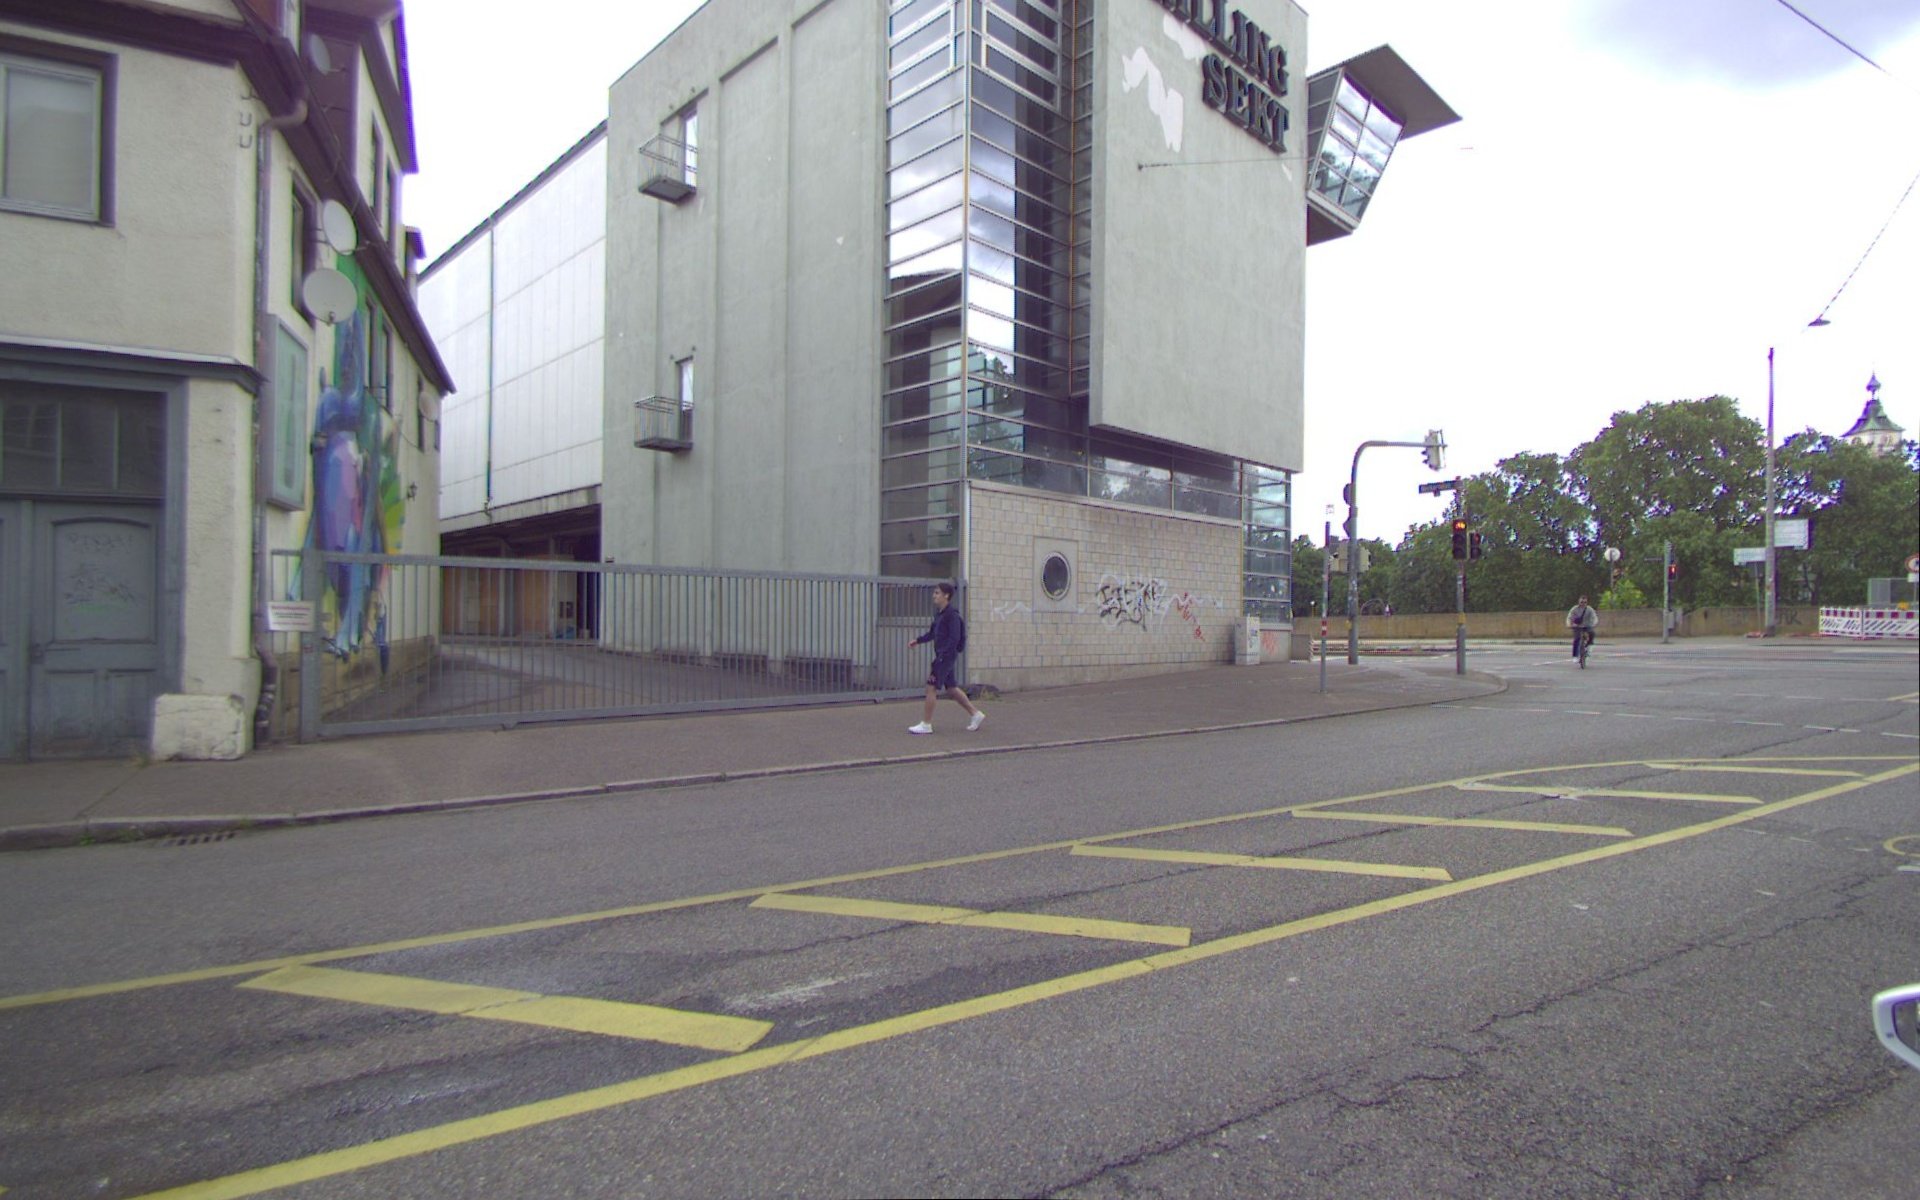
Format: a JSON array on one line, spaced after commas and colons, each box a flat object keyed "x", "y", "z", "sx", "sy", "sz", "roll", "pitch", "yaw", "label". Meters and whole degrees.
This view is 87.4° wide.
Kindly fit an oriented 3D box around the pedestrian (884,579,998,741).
[{"x": -0.247, "y": 0.695, "z": 12.543, "sx": 1.077, "sy": 1.911, "sz": 1.050, "roll": -1, "pitch": 1, "yaw": -27, "label": "pedestrian"}]

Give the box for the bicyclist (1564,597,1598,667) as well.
[{"x": 15.560, "y": 0.798, "z": 25.166, "sx": 0.713, "sy": 1.723, "sz": 0.809, "roll": 0, "pitch": -1, "yaw": 33, "label": "bicyclist"}]

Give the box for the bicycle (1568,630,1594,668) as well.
[{"x": 15.560, "y": 1.210, "z": 25.178, "sx": 0.533, "sy": 0.904, "sz": 1.876, "roll": 0, "pitch": -1, "yaw": 32, "label": "bicycle"}]
